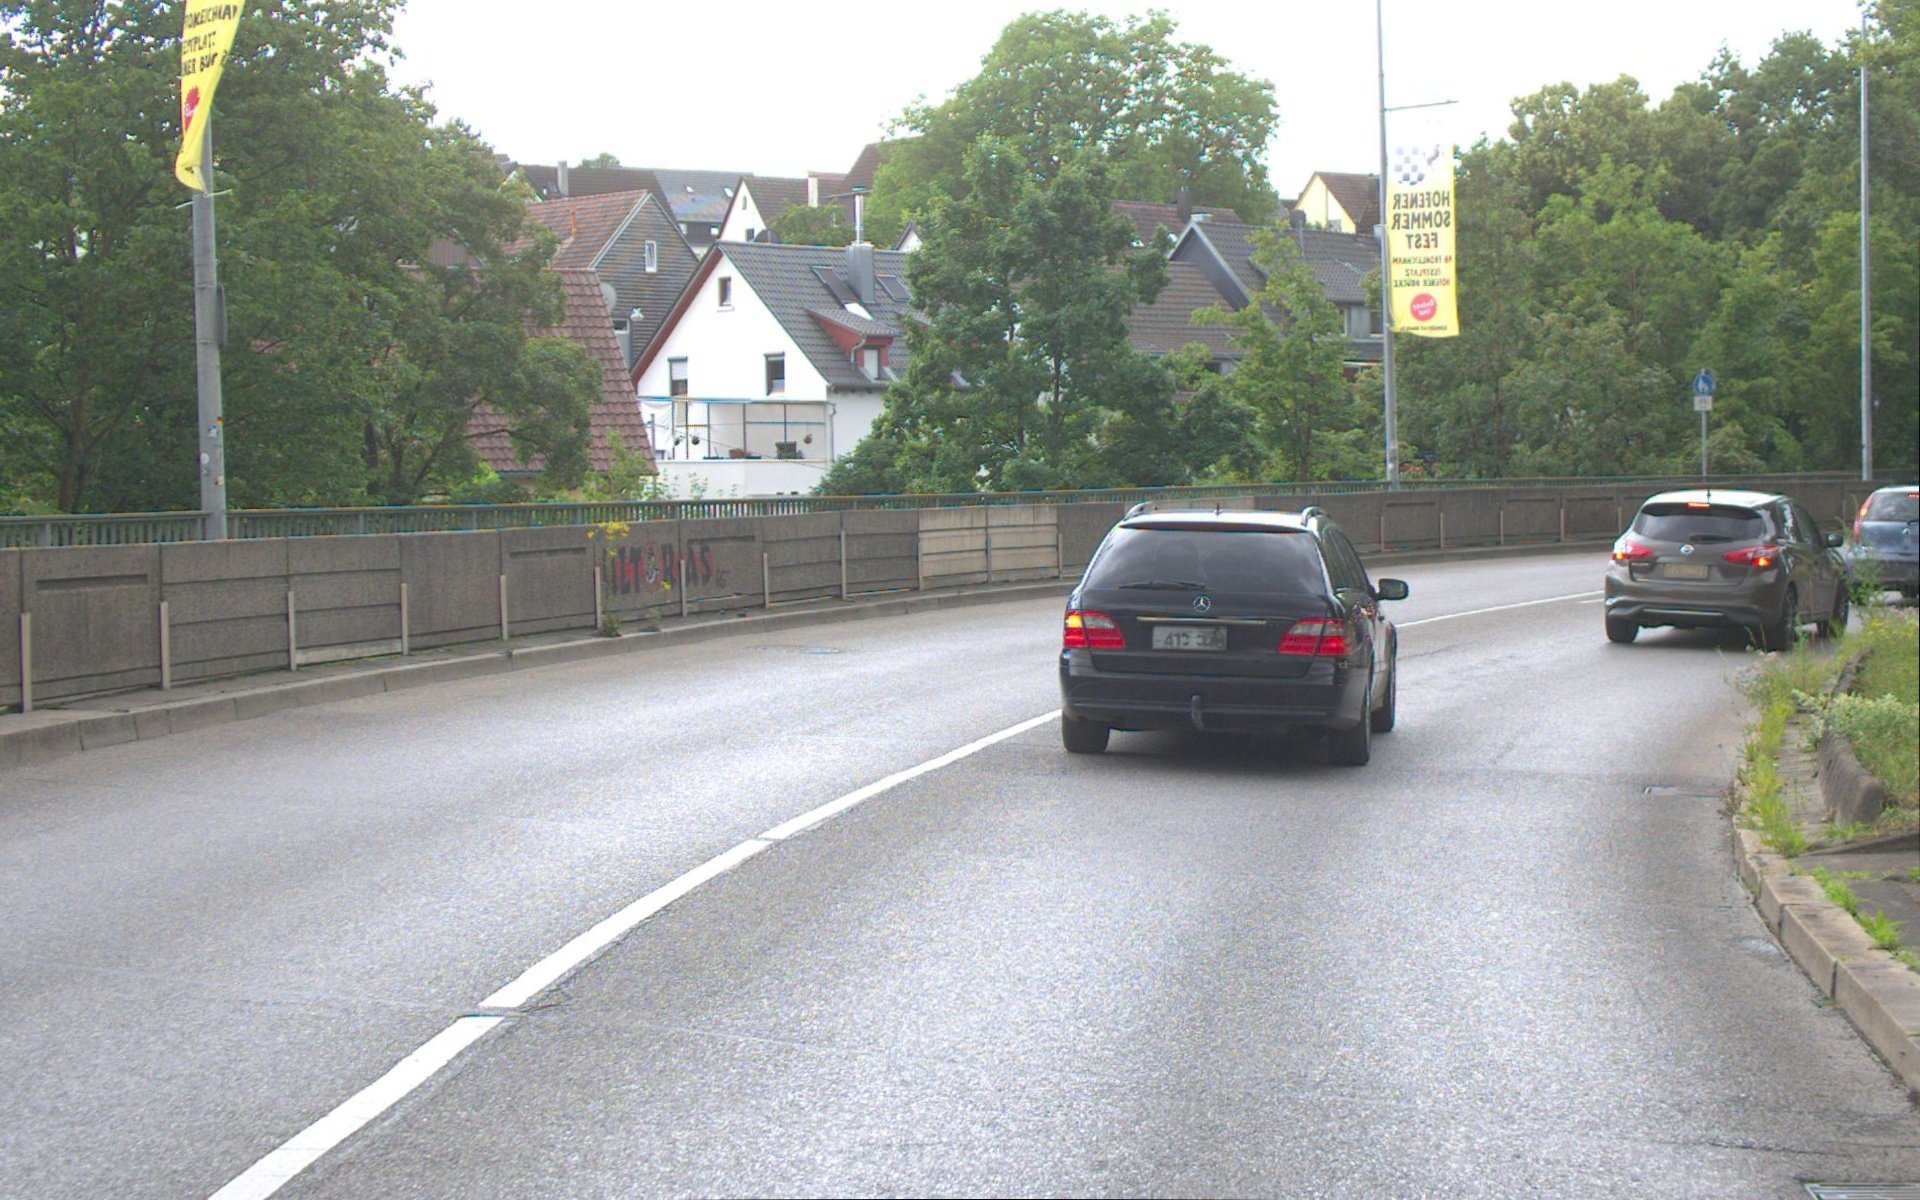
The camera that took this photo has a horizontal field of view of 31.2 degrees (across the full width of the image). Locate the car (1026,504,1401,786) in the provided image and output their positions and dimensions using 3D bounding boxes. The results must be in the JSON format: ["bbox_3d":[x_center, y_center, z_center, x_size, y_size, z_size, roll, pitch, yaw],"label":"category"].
[{"bbox_3d":[1.667,0.180,21.153,1.852,1.481,4.419,2,2,10],"label":"car"}]

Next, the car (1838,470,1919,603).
[{"bbox_3d":[12.345,-0.797,42.539,1.896,1.568,3.994,2,2,29],"label":"car"}]

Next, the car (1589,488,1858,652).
[{"bbox_3d":[7.734,-0.356,34.572,1.777,1.489,3.995,3,3,25],"label":"car"}]
